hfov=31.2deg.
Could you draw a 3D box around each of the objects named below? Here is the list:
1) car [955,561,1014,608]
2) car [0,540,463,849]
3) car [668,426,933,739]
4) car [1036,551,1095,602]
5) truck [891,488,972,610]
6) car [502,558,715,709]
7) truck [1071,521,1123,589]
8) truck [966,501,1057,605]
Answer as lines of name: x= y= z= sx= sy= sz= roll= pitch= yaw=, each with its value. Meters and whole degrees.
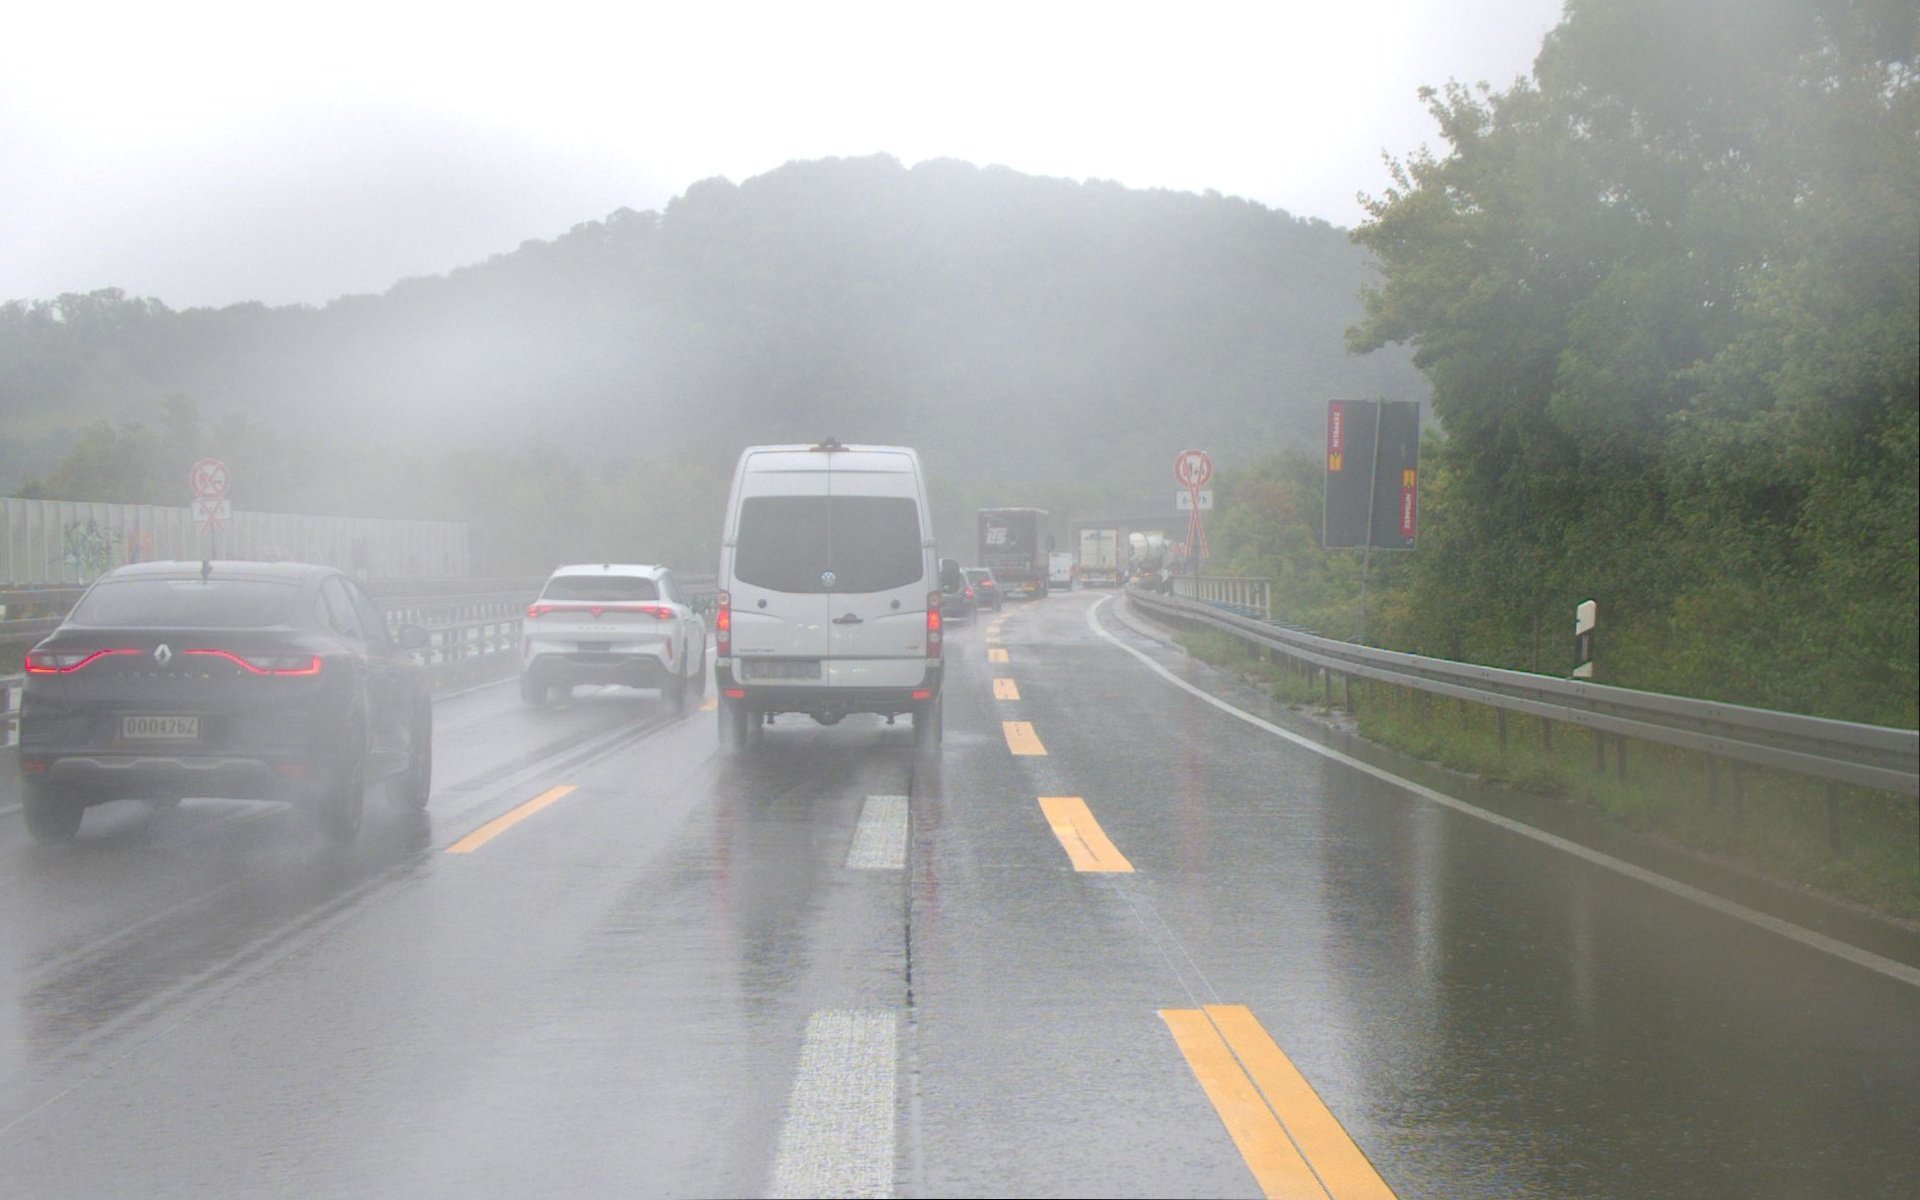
car: x=0.820 y=-0.503 z=112.574 sx=1.774 sy=1.470 sz=4.000 roll=1 pitch=0 yaw=3
car: x=-4.180 y=0.487 z=20.153 sx=1.993 sy=1.579 sz=4.414 roll=1 pitch=0 yaw=-2
car: x=-1.348 y=-0.149 z=31.322 sx=2.145 sy=2.562 sz=5.390 roll=1 pitch=0 yaw=0
car: x=6.159 y=-1.331 z=199.235 sx=2.899 sy=2.878 sz=6.410 roll=1 pitch=0 yaw=6
truck: x=-0.717 y=-1.328 z=93.047 sx=1.993 sy=3.098 sz=8.498 roll=1 pitch=0 yaw=0
car: x=-4.013 y=0.360 z=39.948 sx=1.993 sy=1.612 sz=4.796 roll=1 pitch=0 yaw=0
truck: x=9.328 y=-2.986 z=232.512 sx=3.036 sy=4.391 sz=9.622 roll=1 pitch=0 yaw=5
truck: x=2.358 y=-2.020 z=152.693 sx=3.581 sy=4.391 sz=9.623 roll=1 pitch=0 yaw=3
